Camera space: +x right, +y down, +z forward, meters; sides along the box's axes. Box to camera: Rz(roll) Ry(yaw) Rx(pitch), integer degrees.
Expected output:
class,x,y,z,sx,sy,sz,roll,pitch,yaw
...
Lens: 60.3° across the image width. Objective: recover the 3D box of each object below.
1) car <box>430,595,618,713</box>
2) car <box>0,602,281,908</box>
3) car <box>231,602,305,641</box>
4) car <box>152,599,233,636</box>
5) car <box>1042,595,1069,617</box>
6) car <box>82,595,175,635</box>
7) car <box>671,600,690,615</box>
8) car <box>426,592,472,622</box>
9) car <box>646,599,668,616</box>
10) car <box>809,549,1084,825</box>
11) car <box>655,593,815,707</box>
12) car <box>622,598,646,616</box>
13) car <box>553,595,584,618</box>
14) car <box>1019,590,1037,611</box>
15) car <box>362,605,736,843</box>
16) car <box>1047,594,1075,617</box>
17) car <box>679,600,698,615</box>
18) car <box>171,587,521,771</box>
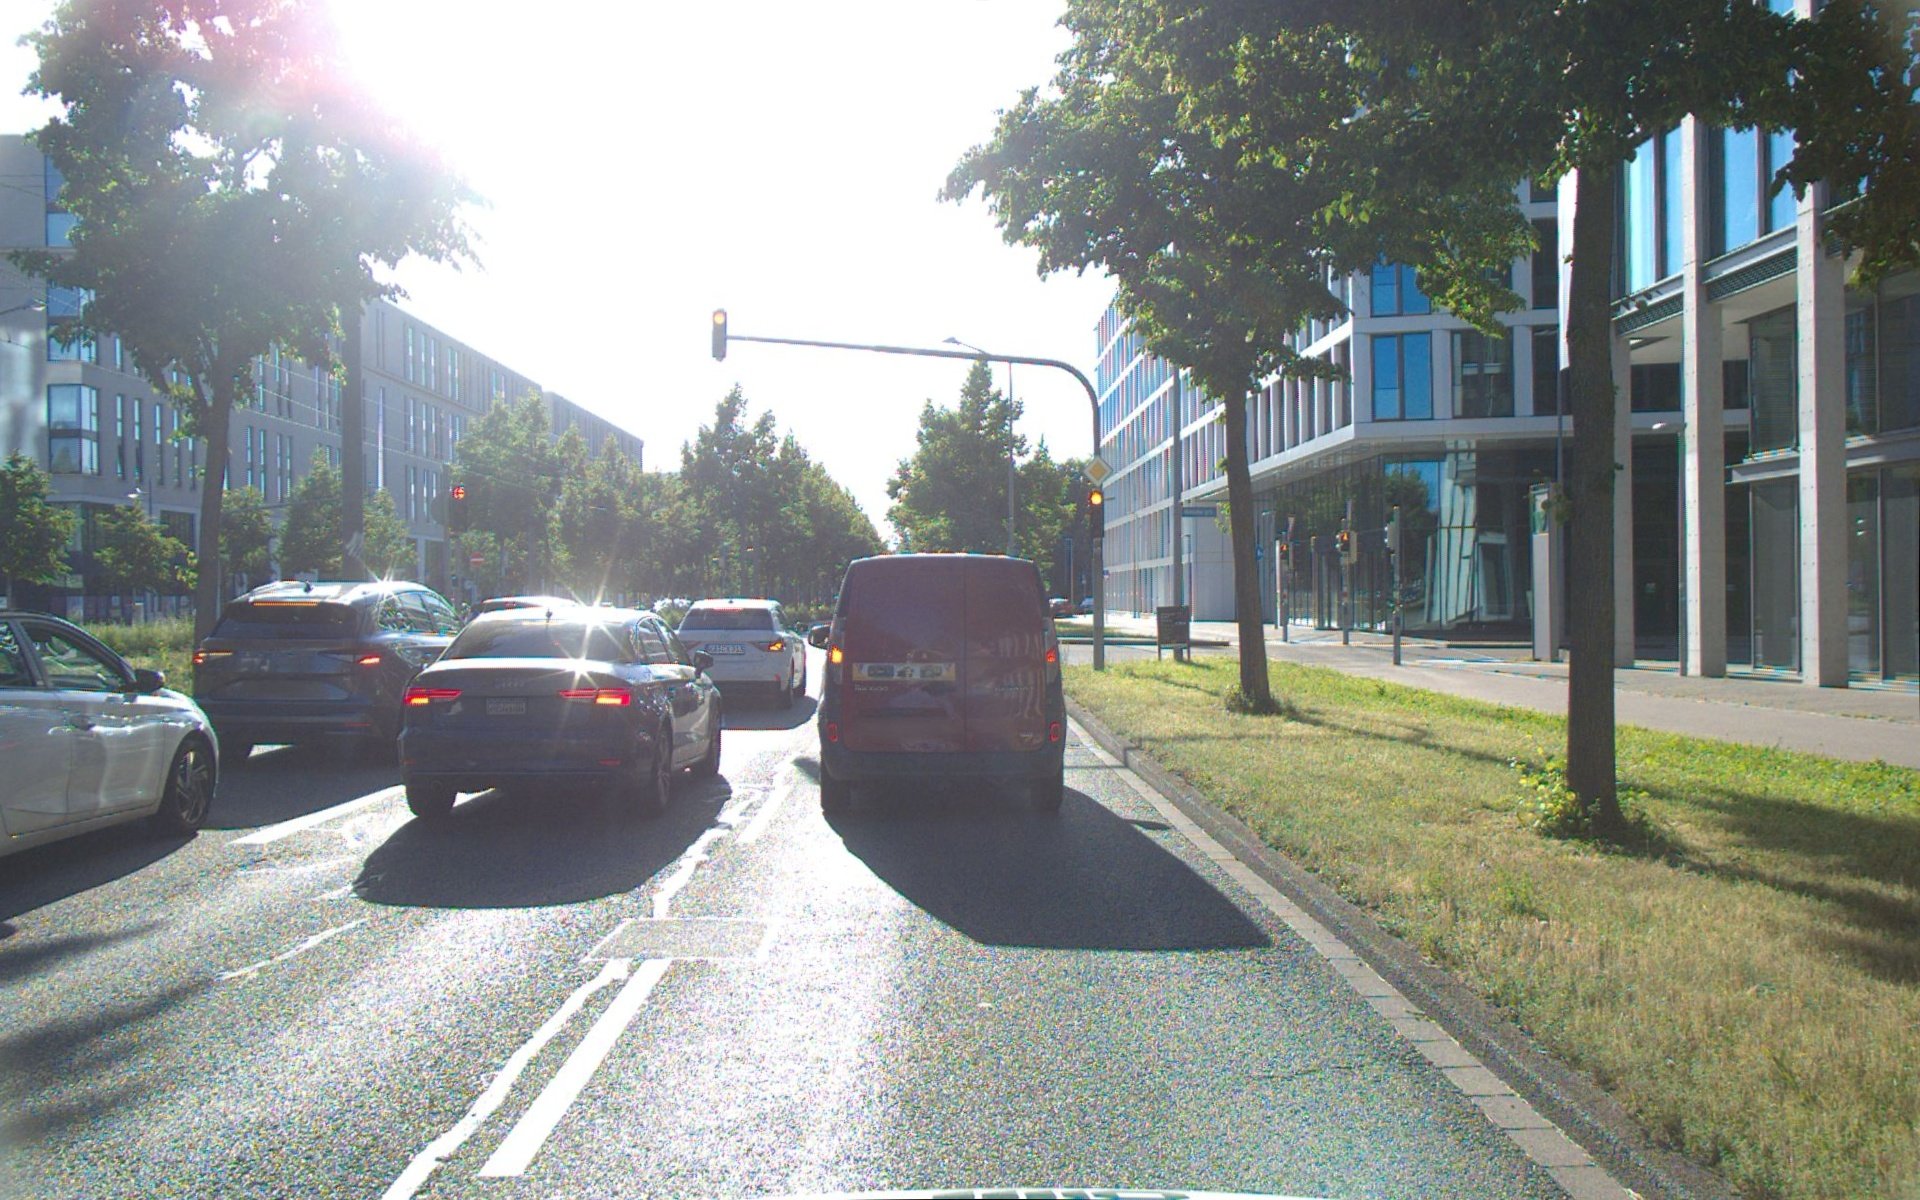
class,x,y,z,sx,sy,sz,roll,pitch,yaw
car,-6.334,0.725,24.545,1.763,1.509,4.565,3,0,-4
car,-5.607,0.766,9.389,1.763,1.473,4.566,-1,0,-2
car,-34.886,1.063,83.520,1.953,1.845,4.369,-1,0,-1
car,-33.576,0.743,72.464,1.729,1.546,3.999,-1,0,-1
car,8.030,0.486,138.813,1.953,1.813,3.999,-1,0,-1
car,-33.335,0.581,66.403,1.729,1.546,3.999,-1,0,-1
car,-37.574,0.991,222.419,1.953,2.049,3.999,-1,0,-1
car,-35.449,0.492,114.859,1.953,2.049,3.999,-1,0,-1
car,-37.426,0.887,204.405,1.953,2.049,3.999,-1,0,-1
car,-0.121,0.572,12.935,1.804,1.812,3.999,0,0,-1
car,-3.075,0.640,23.256,1.767,1.451,3.900,0,0,-1
car,-36.921,0.801,187.599,1.953,2.049,3.999,-1,0,-1
car,-36.552,0.614,154.520,1.953,2.049,3.999,-1,0,-1
car,8.364,0.034,204.238,1.953,2.540,4.985,-1,0,-1
car,-2.858,0.779,12.500,1.804,1.451,4.338,0,0,-1
car,8.155,0.459,133.806,1.953,1.813,3.999,-1,0,-1
car,-37.389,1.030,228.045,1.953,2.049,3.999,-1,0,-1
car,-5.720,0.646,16.065,1.763,1.473,4.567,-2,0,-2
